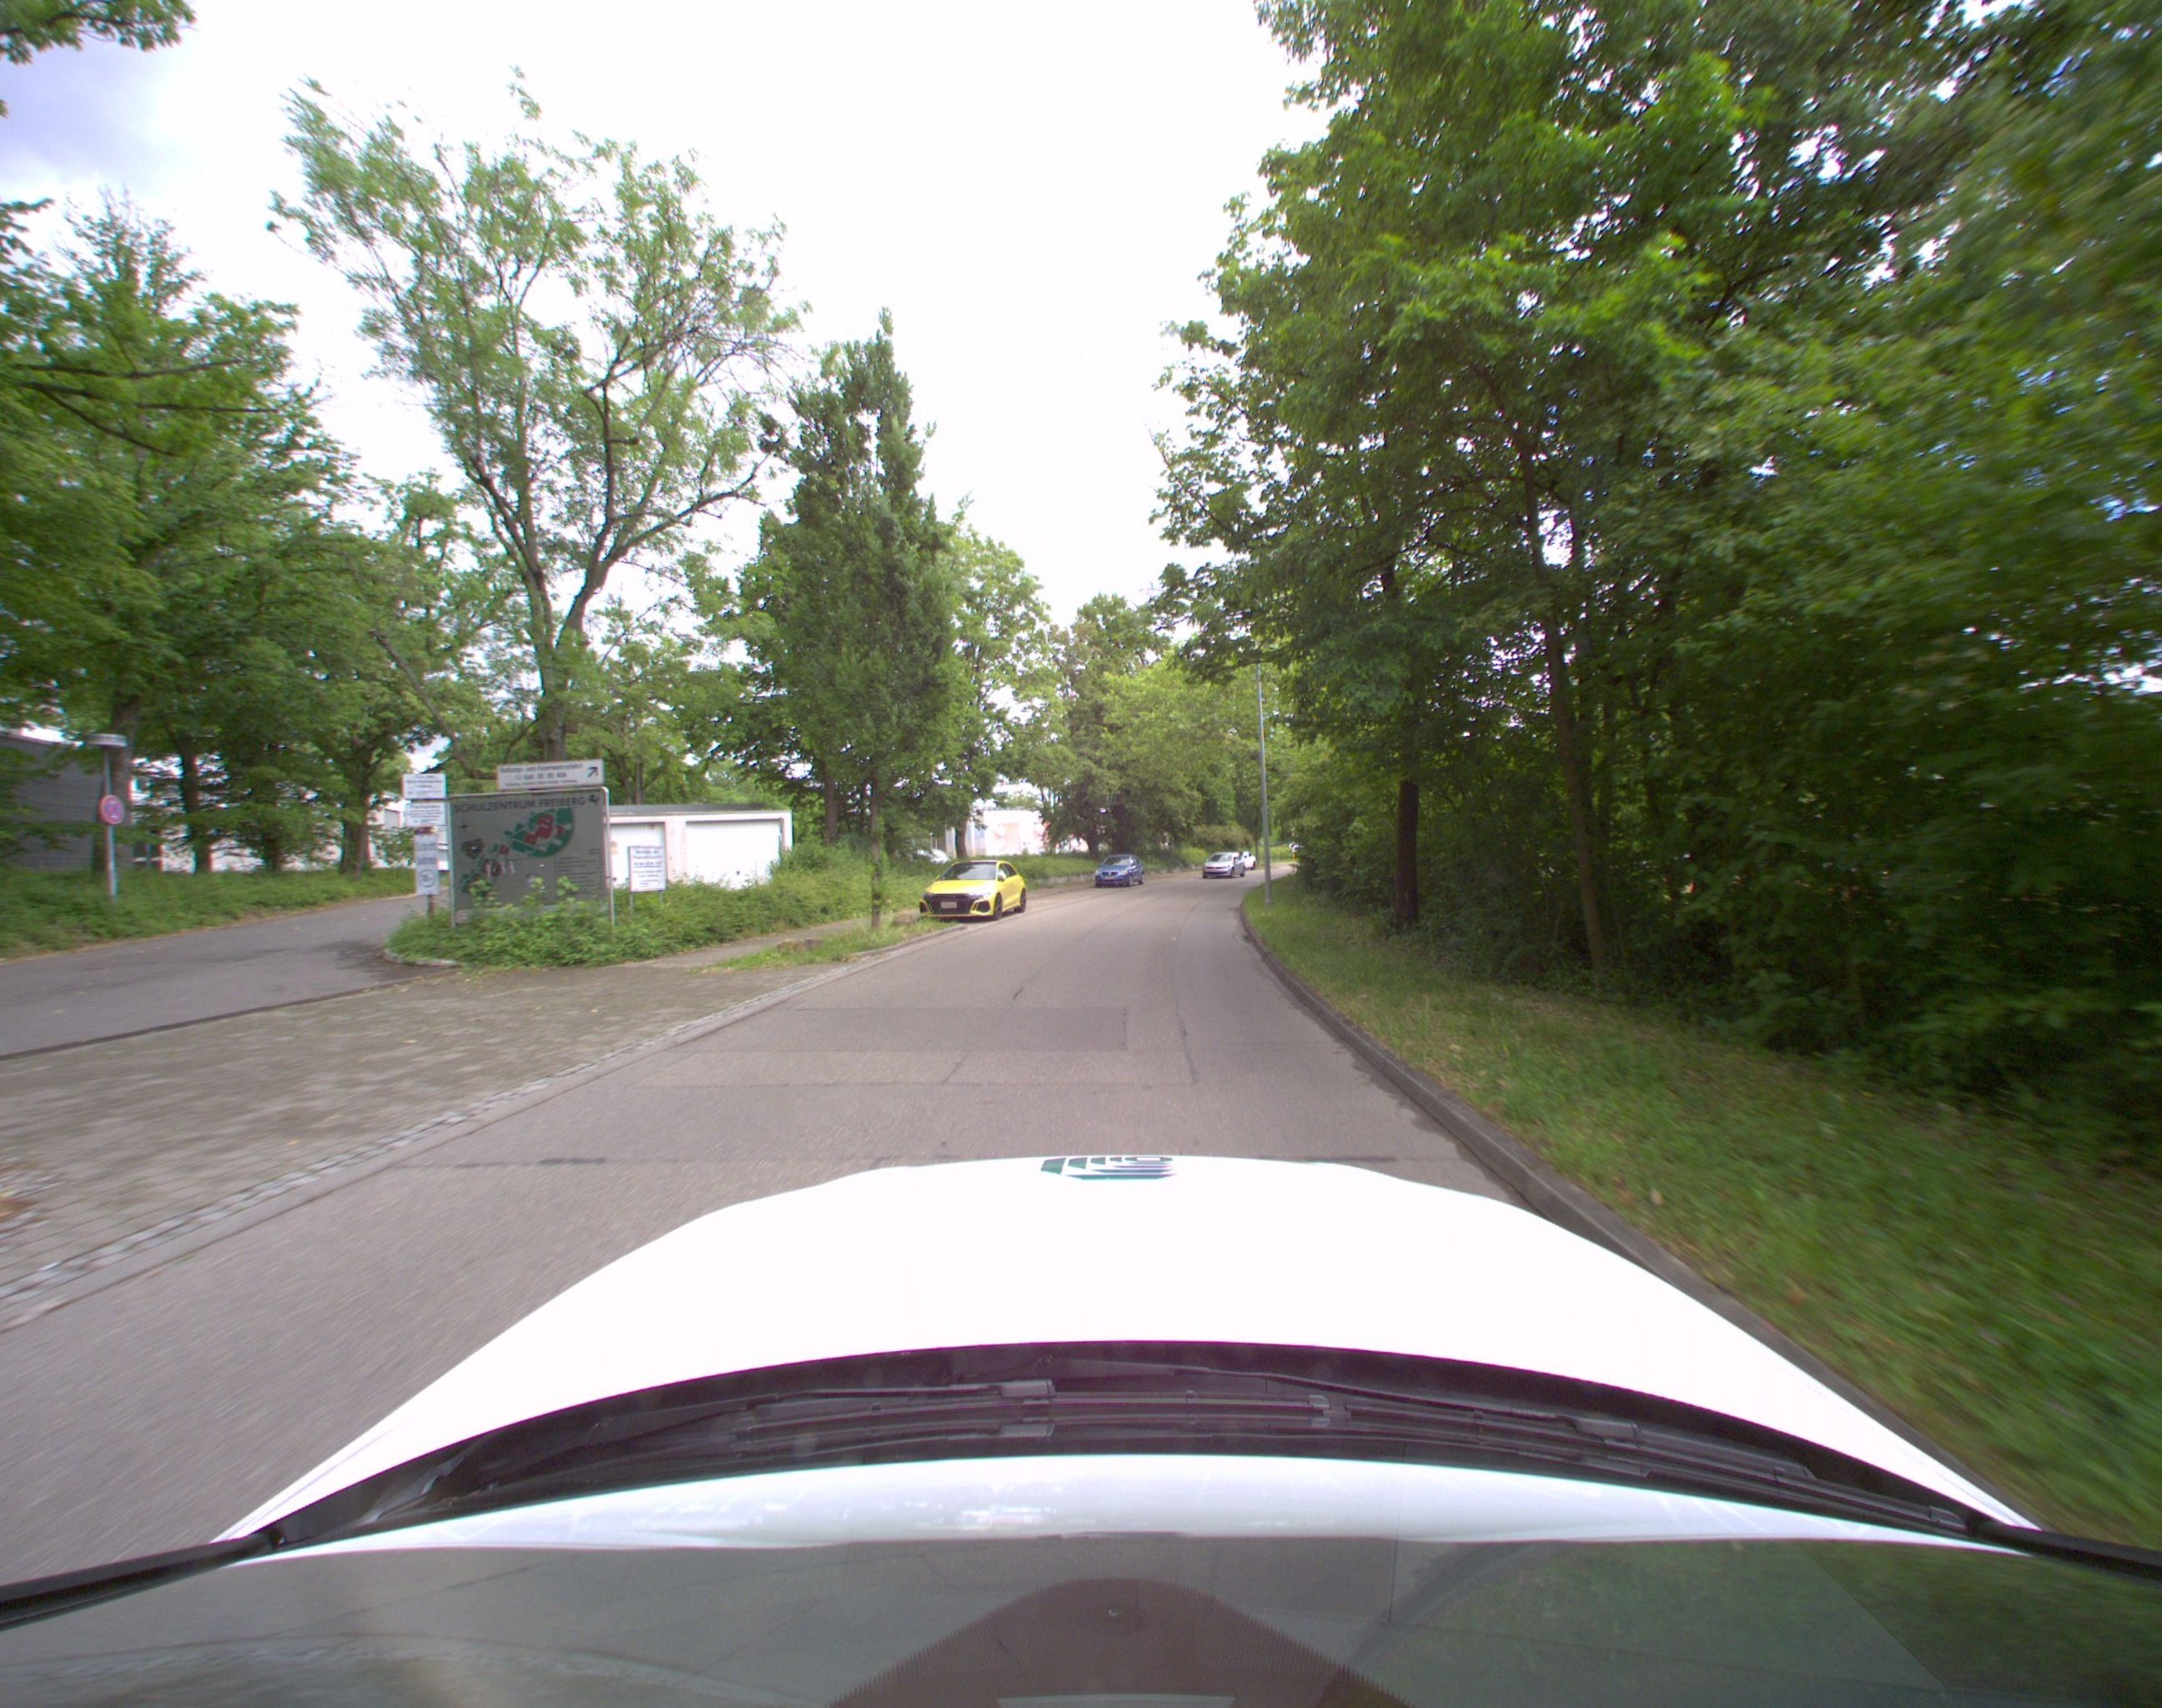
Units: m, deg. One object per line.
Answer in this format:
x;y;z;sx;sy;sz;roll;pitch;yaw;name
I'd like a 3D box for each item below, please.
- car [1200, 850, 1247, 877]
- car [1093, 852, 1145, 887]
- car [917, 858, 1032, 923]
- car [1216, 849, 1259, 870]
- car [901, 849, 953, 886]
8.359;0.539;47.517;1.661;1.462;4.085;0;1;25;car
1.836;0.679;38.027;1.521;1.459;3.736;-2;0;16;car
-2.554;0.837;20.557;1.690;1.403;4.284;-2;0;9;car
11.414;0.398;59.213;1.797;1.424;4.387;-1;0;28;car
-7.653;0.618;40.283;1.748;1.622;3.845;-3;1;-22;car
